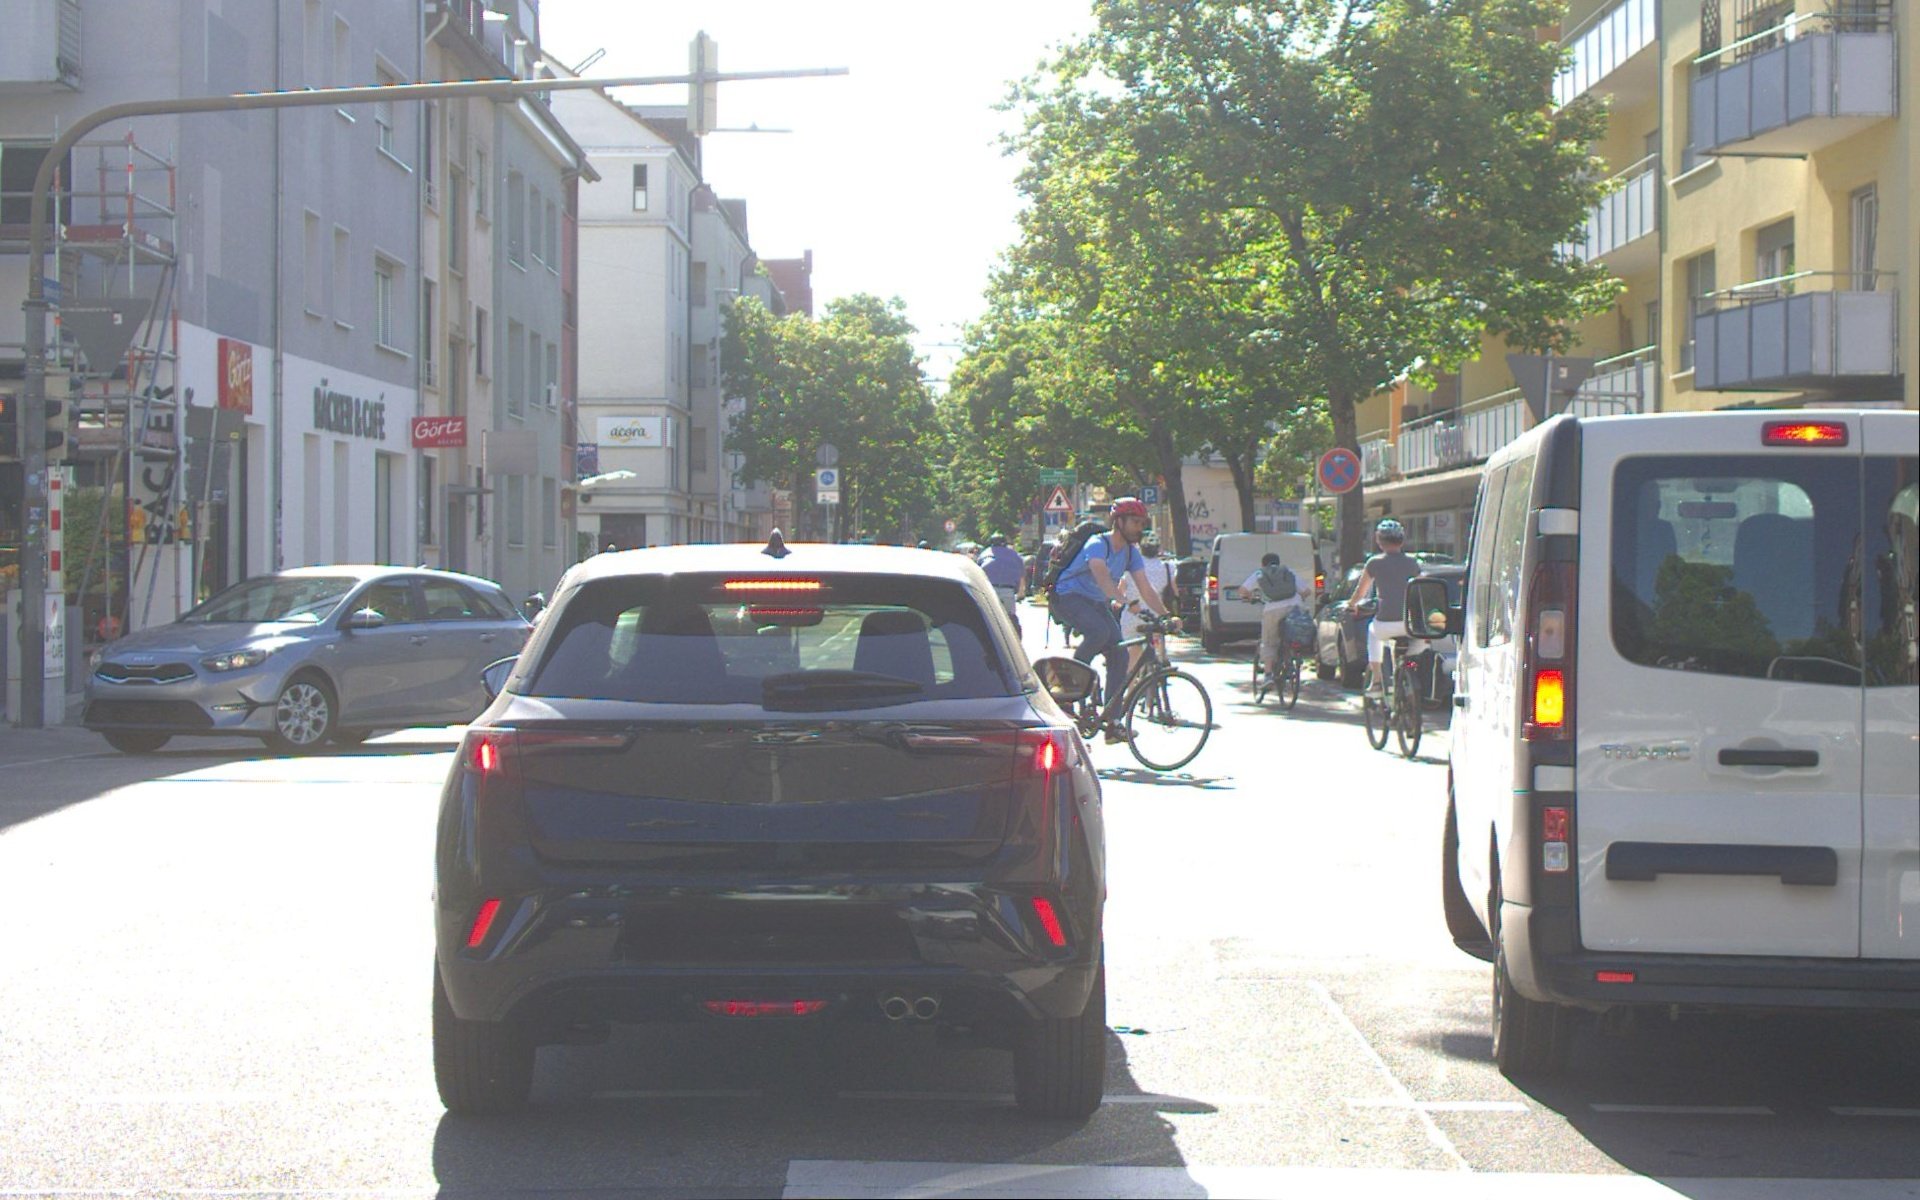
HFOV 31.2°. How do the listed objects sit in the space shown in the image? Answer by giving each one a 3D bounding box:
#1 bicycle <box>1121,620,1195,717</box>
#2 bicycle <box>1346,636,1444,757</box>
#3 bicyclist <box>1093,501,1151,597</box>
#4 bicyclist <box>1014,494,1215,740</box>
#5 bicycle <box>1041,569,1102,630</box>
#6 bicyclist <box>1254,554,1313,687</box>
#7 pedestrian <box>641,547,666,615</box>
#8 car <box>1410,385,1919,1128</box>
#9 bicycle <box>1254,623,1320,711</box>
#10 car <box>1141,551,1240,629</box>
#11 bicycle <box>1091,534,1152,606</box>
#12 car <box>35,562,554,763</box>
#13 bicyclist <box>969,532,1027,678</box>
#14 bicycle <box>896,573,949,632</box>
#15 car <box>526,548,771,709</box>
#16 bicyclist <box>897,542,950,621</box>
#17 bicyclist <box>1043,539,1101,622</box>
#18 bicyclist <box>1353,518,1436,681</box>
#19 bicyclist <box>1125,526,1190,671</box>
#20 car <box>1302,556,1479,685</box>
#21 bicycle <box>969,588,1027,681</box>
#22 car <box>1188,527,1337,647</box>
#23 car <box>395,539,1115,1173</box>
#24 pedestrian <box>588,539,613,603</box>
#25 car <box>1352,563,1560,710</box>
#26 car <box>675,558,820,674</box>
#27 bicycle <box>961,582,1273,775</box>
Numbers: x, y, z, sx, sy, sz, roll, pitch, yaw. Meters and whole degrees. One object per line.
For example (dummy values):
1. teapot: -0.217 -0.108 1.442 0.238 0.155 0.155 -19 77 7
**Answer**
1. bicycle: 1.894 0.644 33.036 0.620 0.863 1.876 0 1 1
2. bicycle: 3.382 0.738 26.836 0.547 0.863 1.876 0 1 1
3. bicyclist: 2.013 -0.633 42.748 0.692 1.189 0.595 0 1 1
4. bicyclist: 1.062 0.104 23.700 1.124 1.644 0.802 1 1 43
5. bicycle: 1.840 -0.023 57.035 0.856 0.942 2.307 2 1 -1
6. bicyclist: 3.418 0.210 36.363 0.547 1.378 0.823 0 1 1
7. pedestrian: -7.071 -0.443 79.314 0.577 1.577 0.708 0 1 -6
8. car: 2.632 0.405 11.602 1.968 1.933 5.055 2 1 5
9. bicycle: 3.479 0.701 36.650 0.547 0.863 1.876 0 1 1
10. car: 4.522 -0.216 67.758 1.712 1.478 3.381 0 1 0
11. bicycle: 1.998 -0.379 42.738 0.691 0.863 1.876 0 1 1
12. car: -5.101 0.423 26.925 1.840 1.429 4.170 1 1 27
13. bicyclist: 0.431 0.048 39.602 0.632 1.663 1.050 0 1 -1
14. bicycle: -0.651 0.037 59.587 0.856 0.942 2.307 2 1 -1
15. car: -3.158 0.267 35.581 1.592 1.560 4.087 0 0 9
16. bicyclist: -0.638 -0.328 59.692 0.856 1.310 1.210 2 1 -1
17. bicyclist: 1.851 -0.329 57.020 0.856 1.310 1.210 2 1 -1
18. bicyclist: 3.390 -0.009 26.881 0.547 1.257 0.803 0 1 1
19. bicyclist: 1.897 -0.023 33.092 0.588 1.378 0.823 0 1 1
20. car: 5.173 0.214 41.664 1.712 1.478 3.381 0 1 0
21. bicycle: 0.433 0.389 39.849 0.632 1.038 1.795 0 1 -1
22. car: 4.816 -0.233 55.329 2.046 1.840 4.584 0 1 1
23. car: -0.529 0.612 10.467 1.762 1.553 4.000 0 1 -1
24. pedestrian: -8.310 -0.666 79.446 0.577 1.462 0.703 0 1 -6
25. car: 5.261 0.352 36.830 1.712 1.478 3.480 0 1 0
26. car: -2.815 0.172 45.704 1.804 1.408 4.426 -1 1 -3
27. bicycle: 1.061 0.515 23.707 2.137 1.251 0.802 1 1 43
